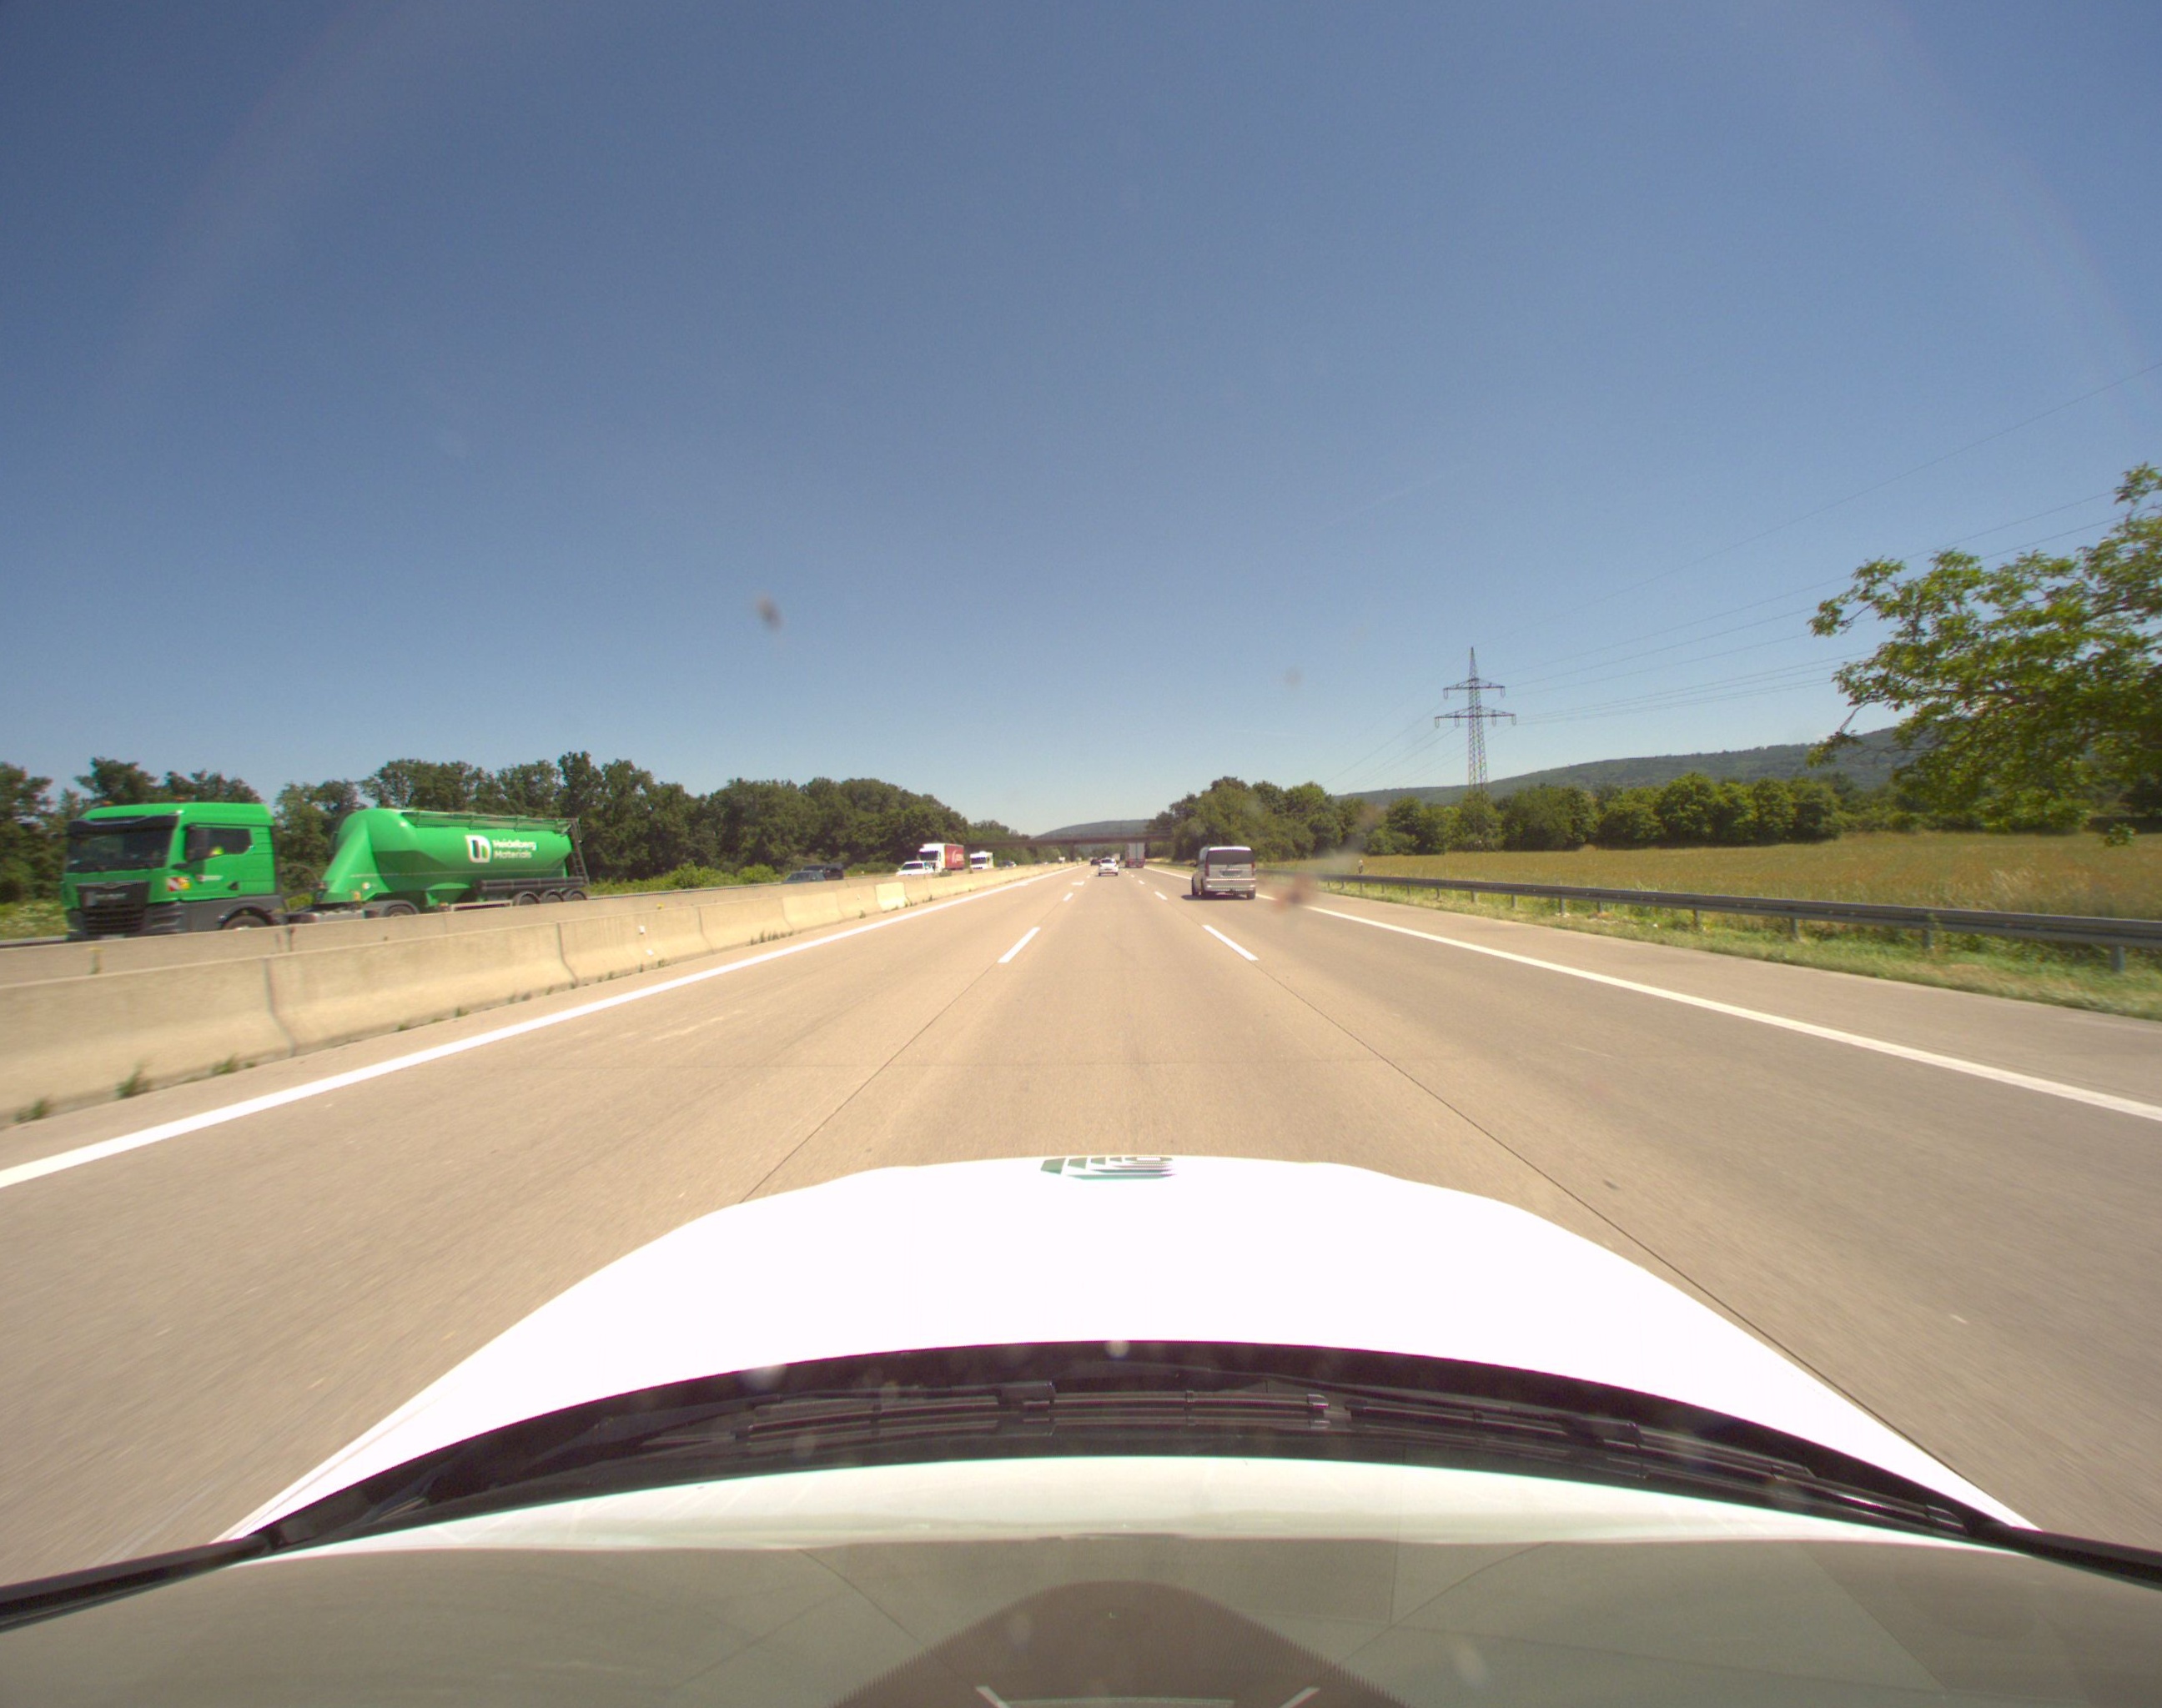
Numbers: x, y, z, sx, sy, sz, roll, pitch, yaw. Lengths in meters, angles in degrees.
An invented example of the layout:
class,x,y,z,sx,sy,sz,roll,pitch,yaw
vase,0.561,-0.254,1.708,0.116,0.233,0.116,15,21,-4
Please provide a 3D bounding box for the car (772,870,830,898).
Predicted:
class,x,y,z,sx,sy,sz,roll,pitch,yaw
car,-15.450,1.615,45.127,1.689,1.333,4.002,-2,0,2

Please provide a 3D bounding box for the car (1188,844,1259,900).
class,x,y,z,sx,sy,sz,roll,pitch,yaw
car,5.264,0.629,30.781,1.872,1.889,5.281,-1,0,2

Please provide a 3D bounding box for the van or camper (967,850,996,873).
class,x,y,z,sx,sy,sz,roll,pitch,yaw
van or camper,-13.179,0.914,108.543,2.516,2.890,7.941,-2,0,2

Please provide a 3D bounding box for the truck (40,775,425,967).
class,x,y,z,sx,sy,sz,roll,pitch,yaw
truck,-20.086,0.364,19.966,2.733,3.883,6.207,-2,0,2

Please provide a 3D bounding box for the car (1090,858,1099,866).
class,x,y,z,sx,sy,sz,roll,pitch,yaw
car,2.966,1.806,178.869,2.016,1.701,3.998,0,-1,-1

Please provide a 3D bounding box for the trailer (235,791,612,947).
class,x,y,z,sx,sy,sz,roll,pitch,yaw
trailer,-19.852,0.403,26.167,2.725,3.878,11.110,-2,0,2

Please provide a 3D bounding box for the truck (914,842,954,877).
class,x,y,z,sx,sy,sz,roll,pitch,yaw
truck,-17.339,0.630,96.675,2.988,3.982,7.298,-2,0,2

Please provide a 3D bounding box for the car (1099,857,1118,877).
class,x,y,z,sx,sy,sz,roll,pitch,yaw
car,2.377,1.122,71.252,1.635,1.662,3.361,0,0,2

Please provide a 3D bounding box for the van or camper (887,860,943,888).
class,x,y,z,sx,sy,sz,roll,pitch,yaw
van or camper,-10.830,1.263,53.542,2.233,1.692,5.852,-2,0,2

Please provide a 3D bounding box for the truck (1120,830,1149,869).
class,x,y,z,sx,sy,sz,roll,pitch,yaw
truck,8.552,-0.601,132.831,3.565,5.787,18.245,-1,0,0

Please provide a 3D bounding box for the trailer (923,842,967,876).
class,x,y,z,sx,sy,sz,roll,pitch,yaw
trailer,-17.105,0.580,103.731,2.988,3.982,12.347,-2,0,2
